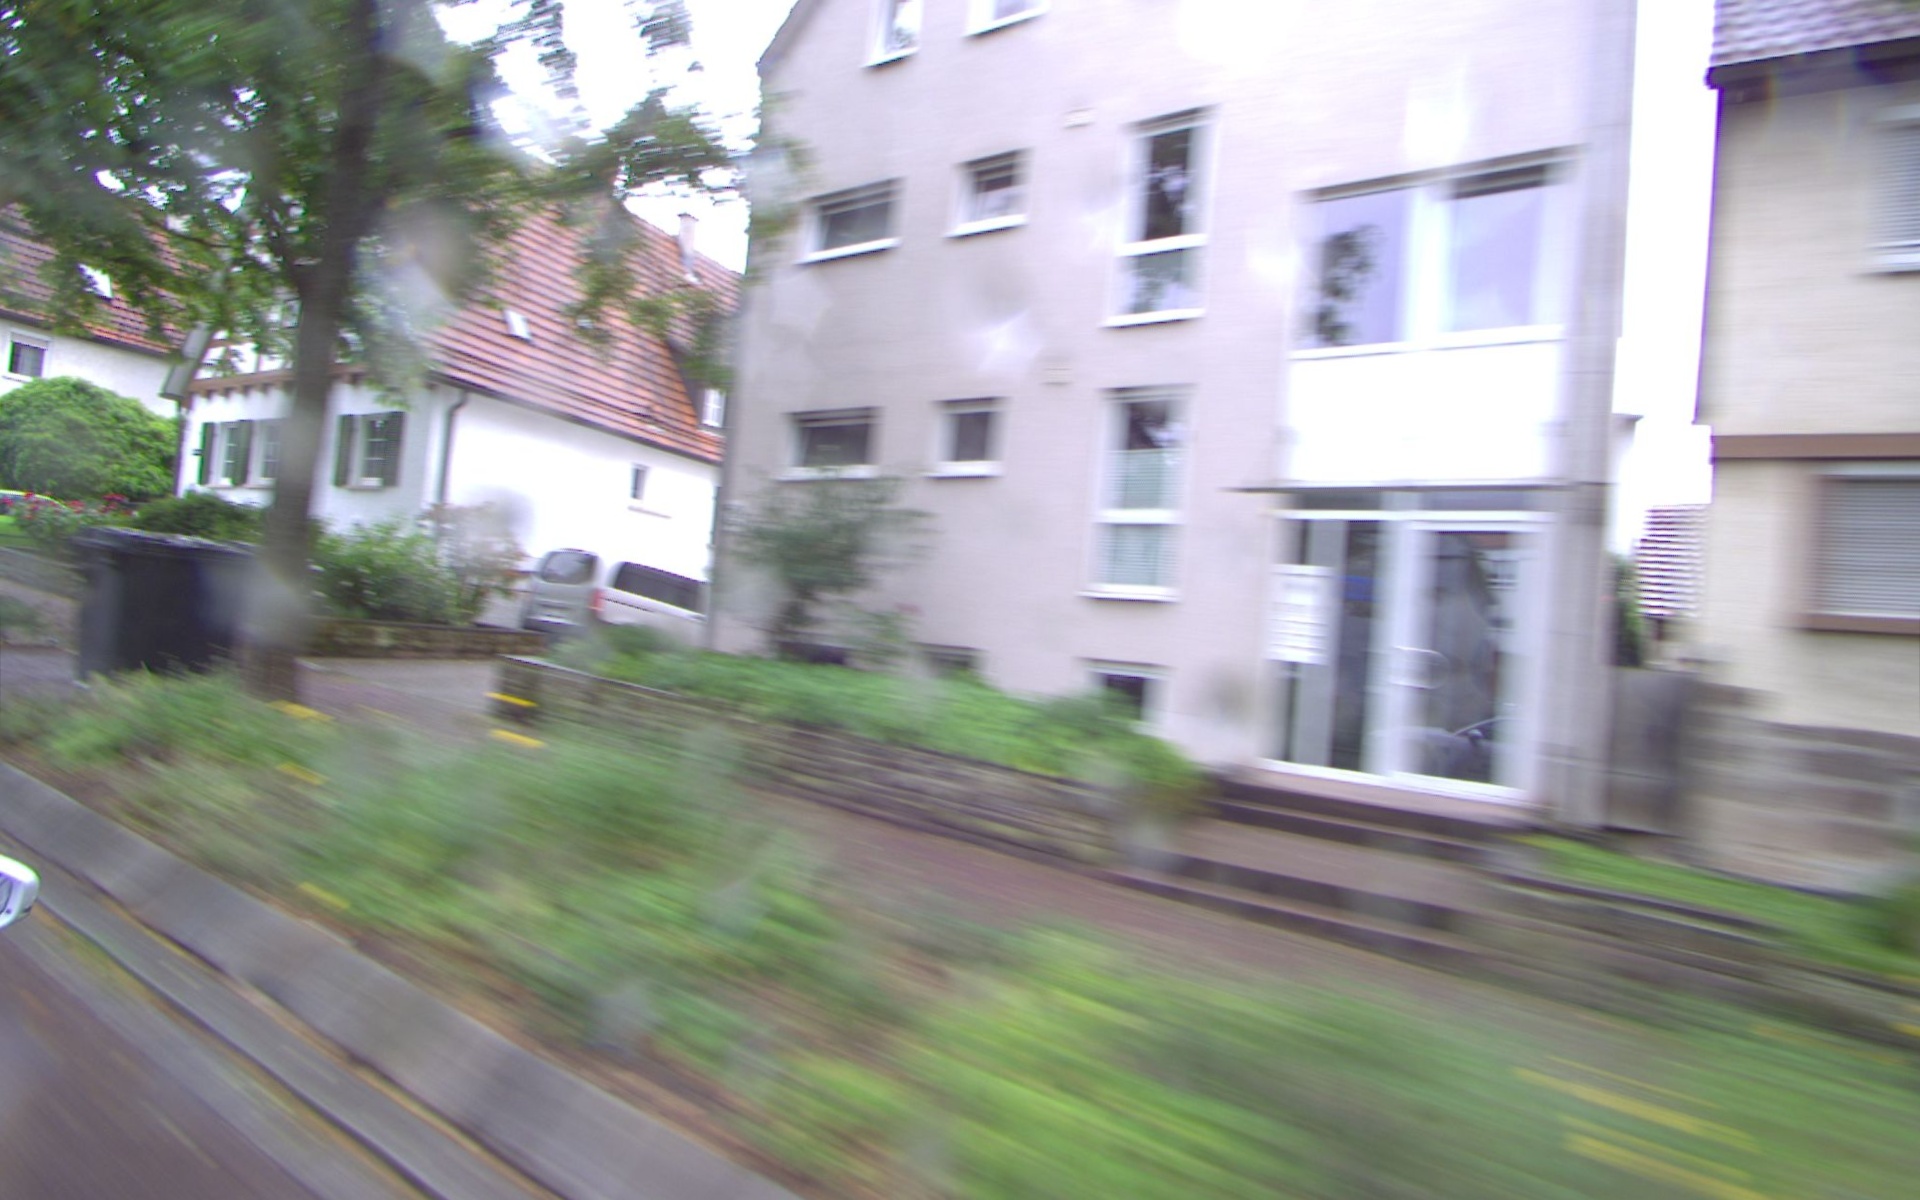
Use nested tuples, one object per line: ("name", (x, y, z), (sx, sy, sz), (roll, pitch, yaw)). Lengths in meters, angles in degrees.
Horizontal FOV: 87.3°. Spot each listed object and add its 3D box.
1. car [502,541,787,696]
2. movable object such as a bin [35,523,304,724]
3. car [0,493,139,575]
("car", (-5.429, 0.430, 17.973), (1.967, 1.918, 4.479), (6, -6, 31))
("movable object such as a bin", (-6.004, 0.193, 7.673), (1.116, 1.331, 1.226), (6, -1, 34))
("car", (-19.833, -1.483, 21.288), (1.603, 1.448, 3.371), (7, 0, 29))
